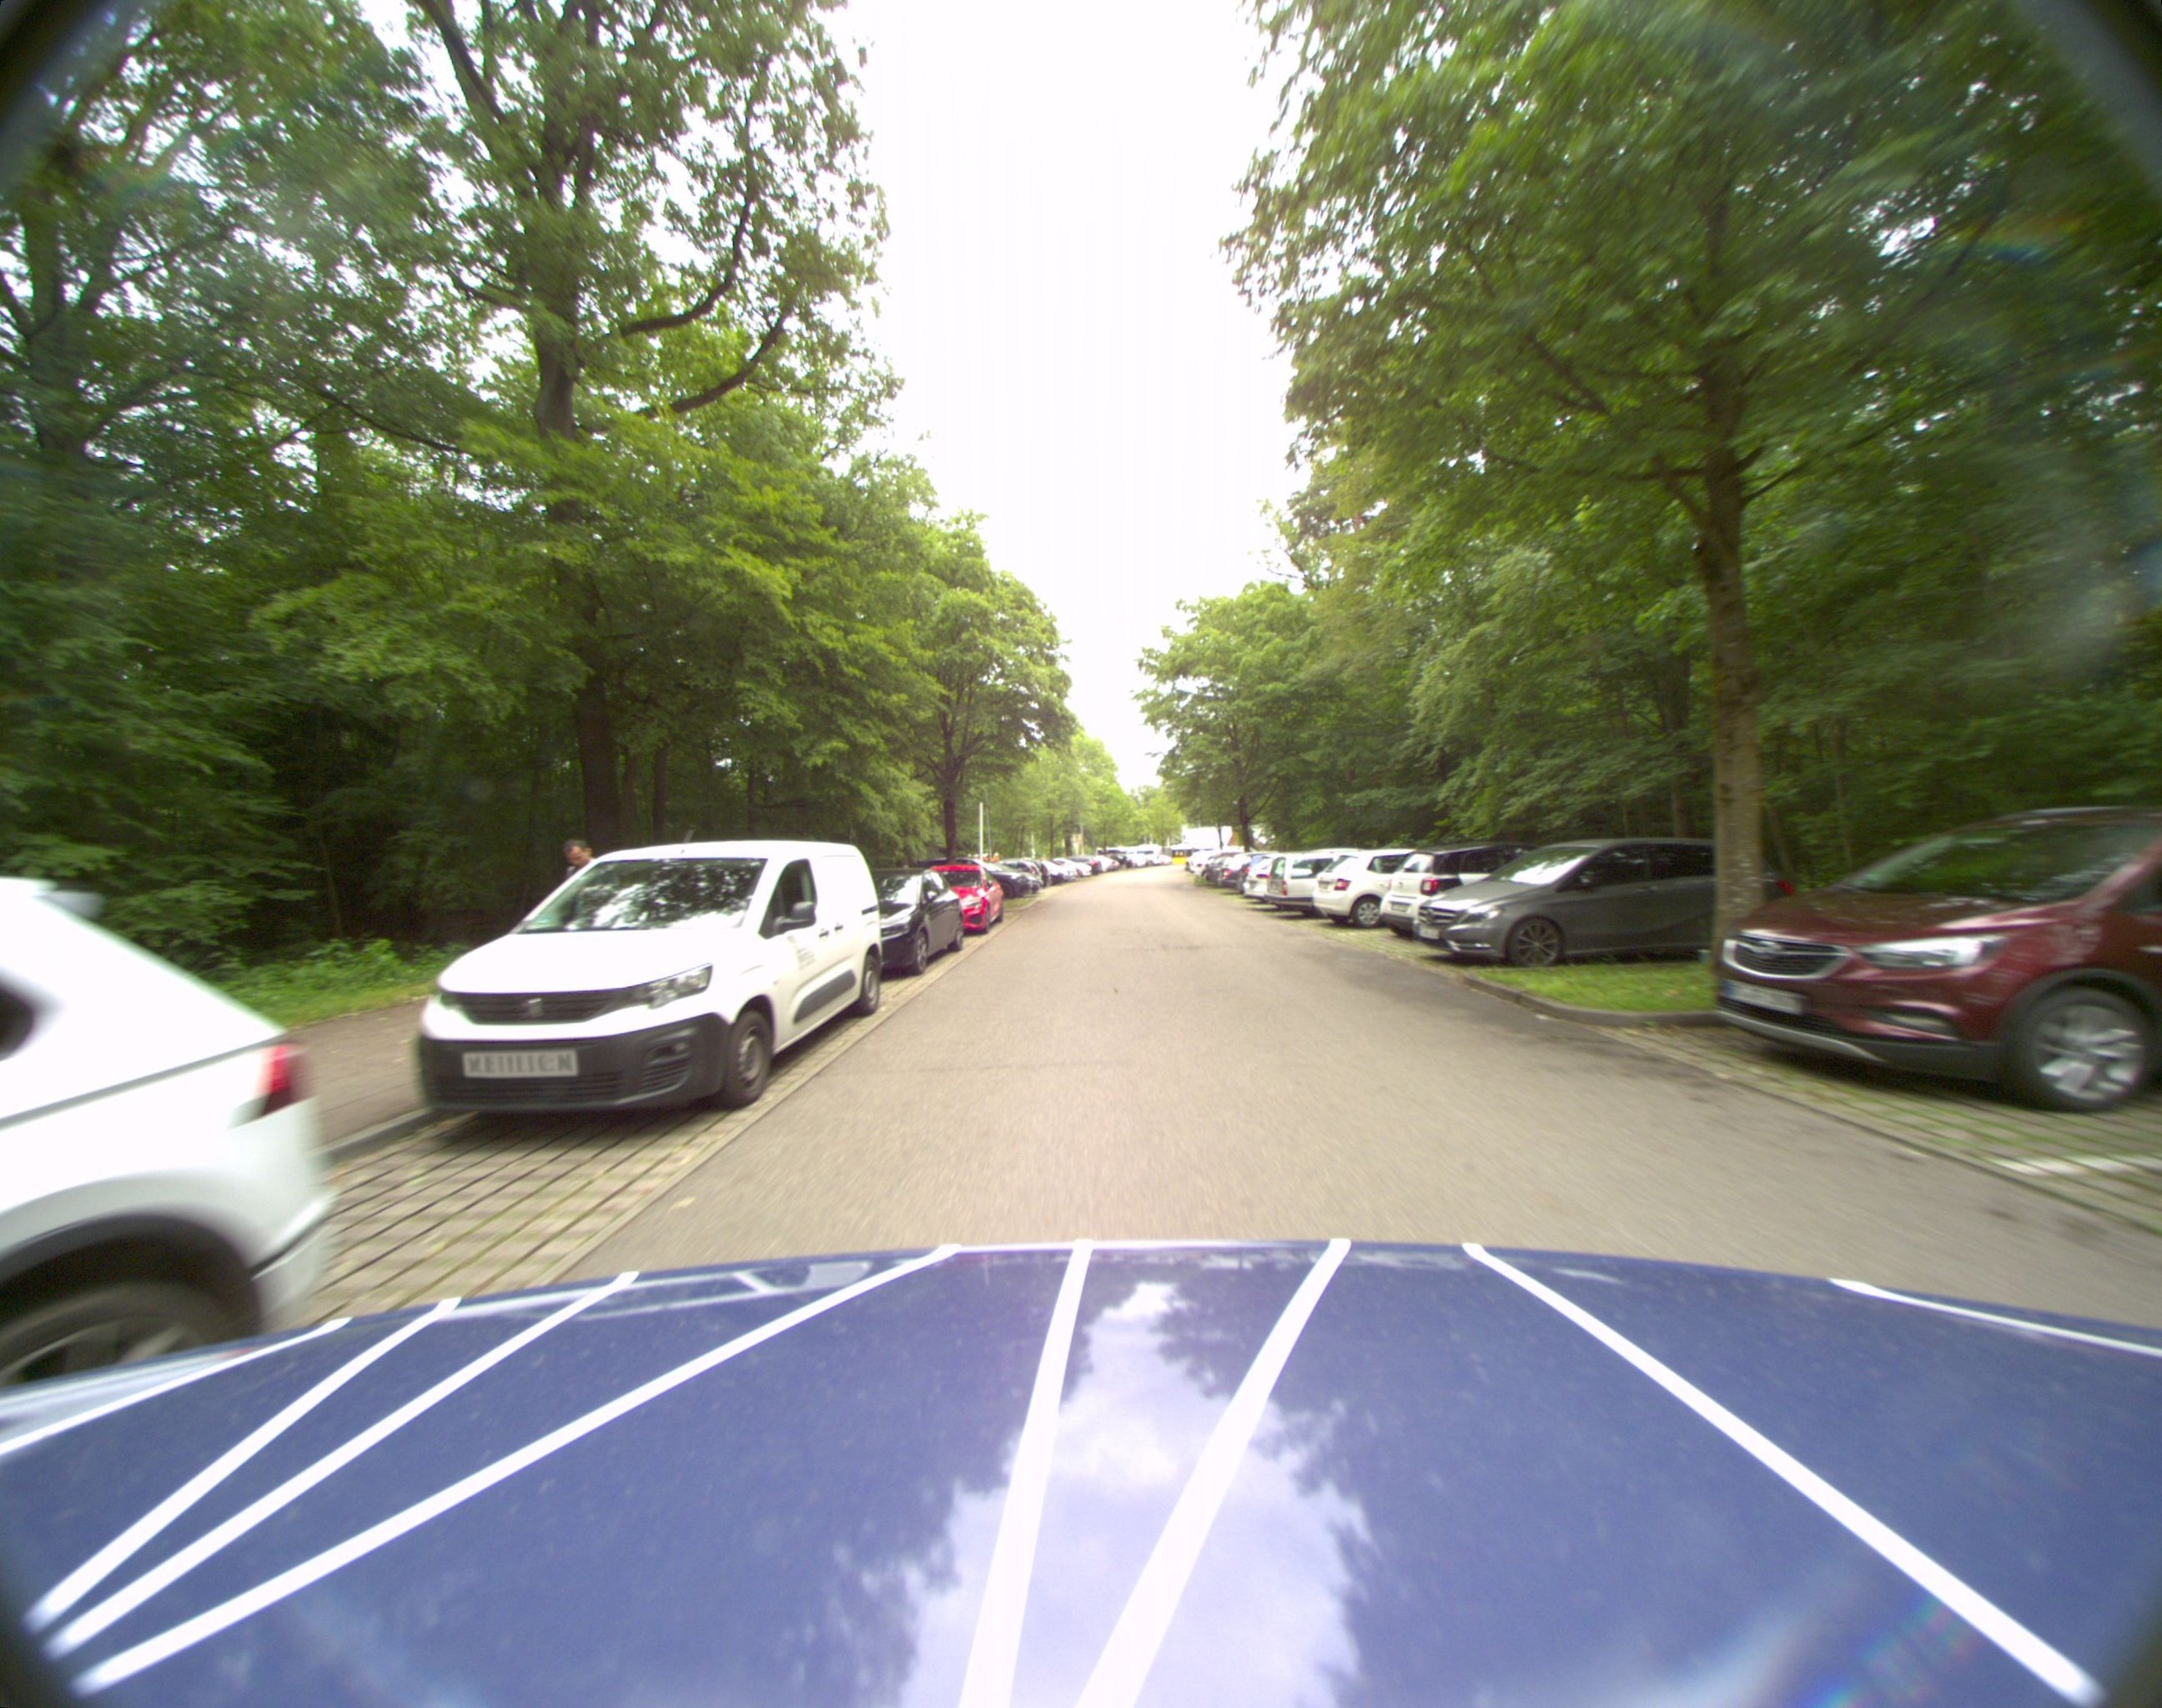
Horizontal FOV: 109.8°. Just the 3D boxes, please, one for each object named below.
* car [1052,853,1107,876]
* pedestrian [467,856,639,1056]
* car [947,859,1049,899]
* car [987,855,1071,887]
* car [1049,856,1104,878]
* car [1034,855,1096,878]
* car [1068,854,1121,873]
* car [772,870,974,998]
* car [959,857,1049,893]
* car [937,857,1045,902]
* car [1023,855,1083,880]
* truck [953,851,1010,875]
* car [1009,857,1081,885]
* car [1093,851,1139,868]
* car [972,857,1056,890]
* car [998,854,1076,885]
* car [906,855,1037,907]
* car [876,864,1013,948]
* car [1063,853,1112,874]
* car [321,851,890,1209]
[{"bbox_3d":[-0.094,0.835,58.207,3.774,1.580,1.951,-2,0,11],"label":"car"},{"bbox_3d":[-4.925,0.896,7.168,0.819,1.716,1.004,-3,1,1],"label":"pedestrian"},{"bbox_3d":[-3.515,1.059,32.688,3.995,1.466,1.953,-2,0,5],"label":"car"},{"bbox_3d":[-2.705,0.890,40.259,4.196,1.503,1.894,-2,0,4],"label":"car"},{"bbox_3d":[-0.296,0.947,55.322,3.775,1.472,1.775,-2,0,7],"label":"car"},{"bbox_3d":[-1.074,0.886,52.742,3.940,1.402,1.879,-2,0,9],"label":"car"},{"bbox_3d":[1.184,0.799,65.093,4.132,1.453,1.867,-2,1,14],"label":"car"},{"bbox_3d":[-2.872,1.036,11.520,1.729,1.414,4.284,-2,0,2],"label":"car"},{"bbox_3d":[-3.553,0.943,35.424,3.835,1.522,1.851,-1,0,4],"label":"car"},{"bbox_3d":[-3.496,0.974,30.035,3.997,1.542,1.975,-2,0,-2],"label":"car"},{"bbox_3d":[-1.797,0.883,50.066,3.804,1.432,1.871,-2,0,0],"label":"car"},{"bbox_3d":[-15.593,1.453,119.366,8.233,3.493,2.872,-2,-1,14],"label":"truck"},{"bbox_3d":[-2.106,0.993,45.298,3.985,1.475,1.885,-2,0,4],"label":"car"},{"bbox_3d":[3.342,0.545,72.563,3.992,1.474,1.924,-2,0,16],"label":"car"},{"bbox_3d":[-3.279,0.936,37.648,3.835,1.449,1.809,-2,1,6],"label":"car"},{"bbox_3d":[-2.457,0.842,42.781,4.016,1.550,1.979,-2,0,8],"label":"car"},{"bbox_3d":[-3.883,0.941,27.477,4.275,1.656,1.958,-2,0,4],"label":"car"},{"bbox_3d":[-2.862,1.030,17.158,1.998,1.470,4.972,-2,0,2],"label":"car"},{"bbox_3d":[0.524,0.787,62.797,3.708,1.502,1.752,-2,1,12],"label":"car"},{"bbox_3d":[-3.018,0.906,6.195,1.749,1.770,4.551,-2,0,-1],"label":"car"}]
